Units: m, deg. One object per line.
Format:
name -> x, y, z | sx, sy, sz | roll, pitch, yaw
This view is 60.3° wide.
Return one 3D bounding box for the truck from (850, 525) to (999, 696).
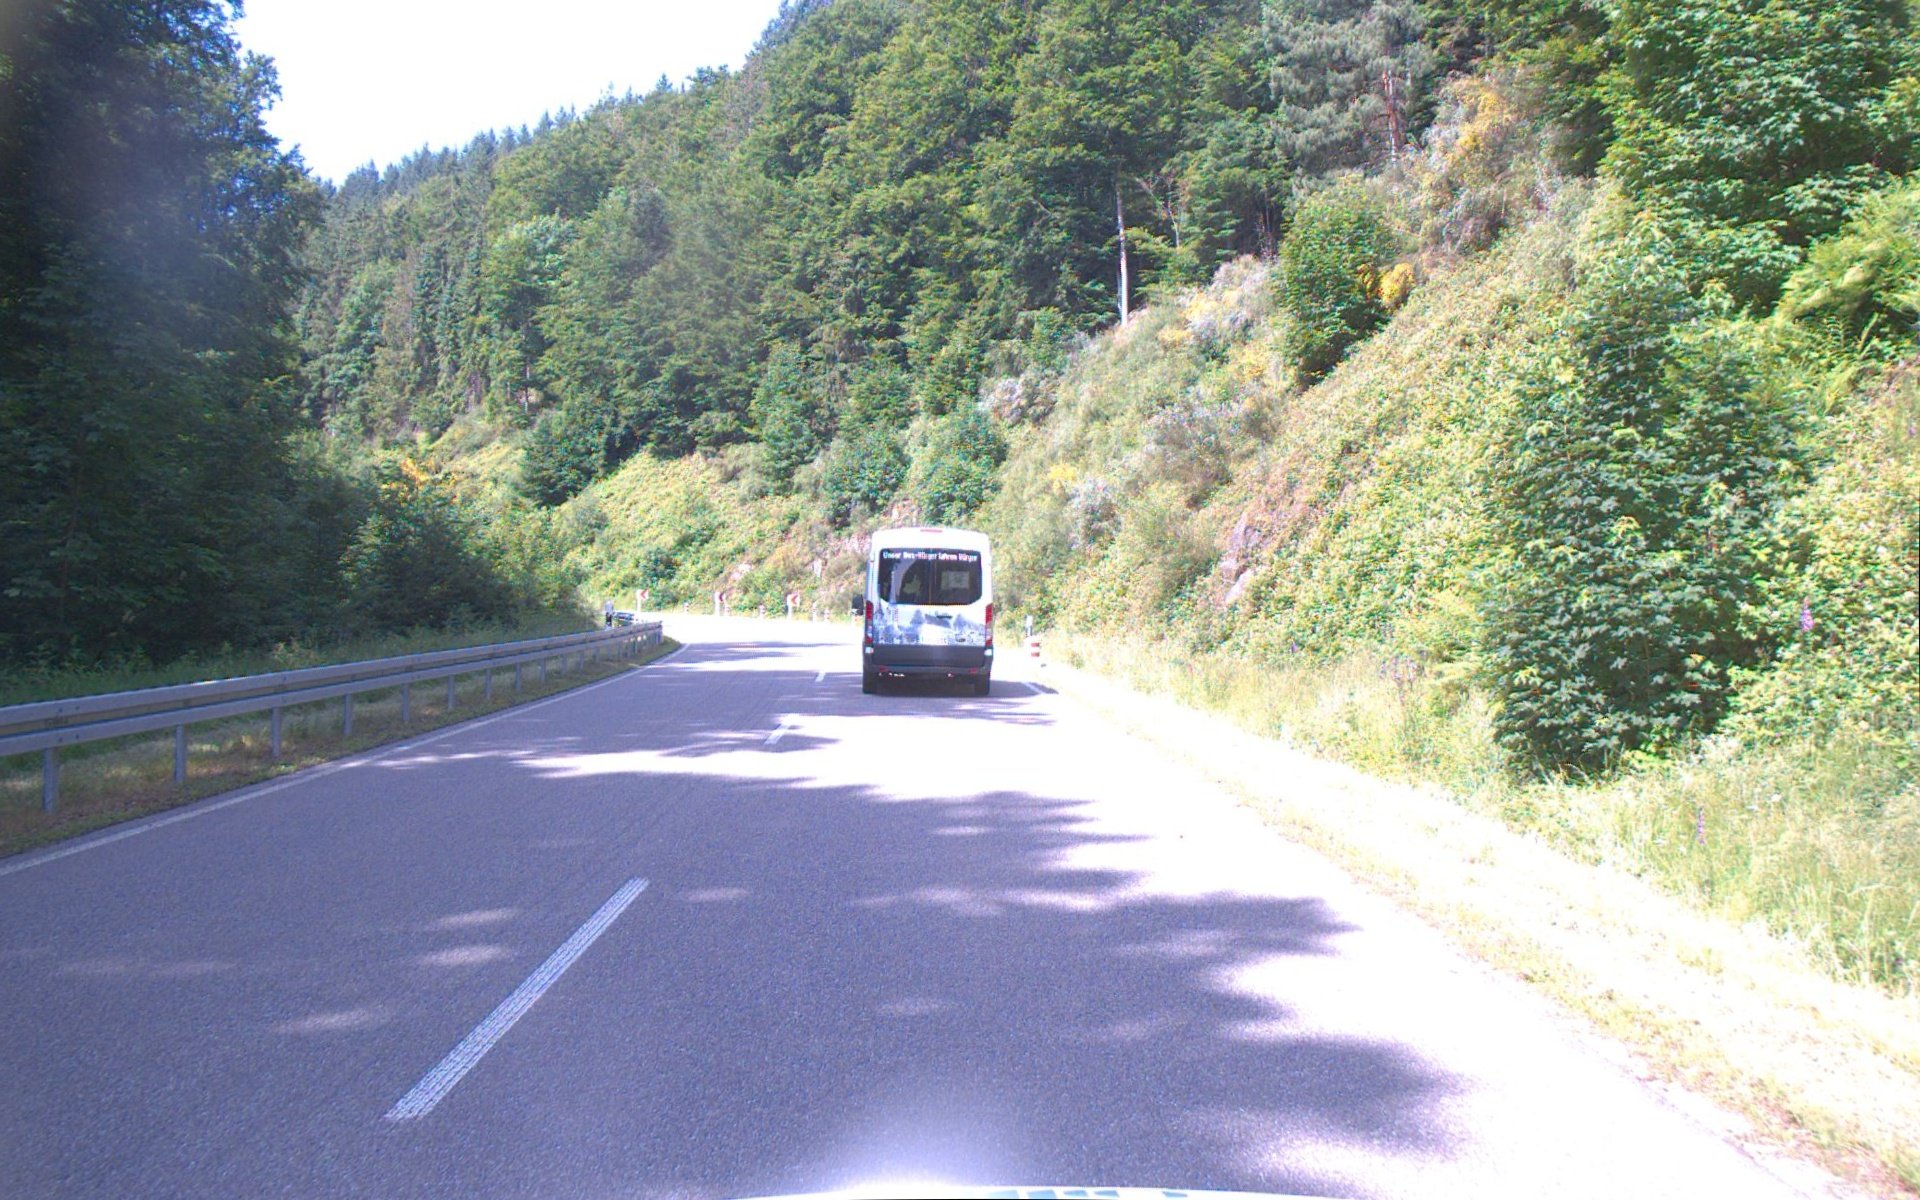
truck -> -0.678, 0.151, 26.669 | 2.043, 2.502, 4.869 | 0, 0, -5
